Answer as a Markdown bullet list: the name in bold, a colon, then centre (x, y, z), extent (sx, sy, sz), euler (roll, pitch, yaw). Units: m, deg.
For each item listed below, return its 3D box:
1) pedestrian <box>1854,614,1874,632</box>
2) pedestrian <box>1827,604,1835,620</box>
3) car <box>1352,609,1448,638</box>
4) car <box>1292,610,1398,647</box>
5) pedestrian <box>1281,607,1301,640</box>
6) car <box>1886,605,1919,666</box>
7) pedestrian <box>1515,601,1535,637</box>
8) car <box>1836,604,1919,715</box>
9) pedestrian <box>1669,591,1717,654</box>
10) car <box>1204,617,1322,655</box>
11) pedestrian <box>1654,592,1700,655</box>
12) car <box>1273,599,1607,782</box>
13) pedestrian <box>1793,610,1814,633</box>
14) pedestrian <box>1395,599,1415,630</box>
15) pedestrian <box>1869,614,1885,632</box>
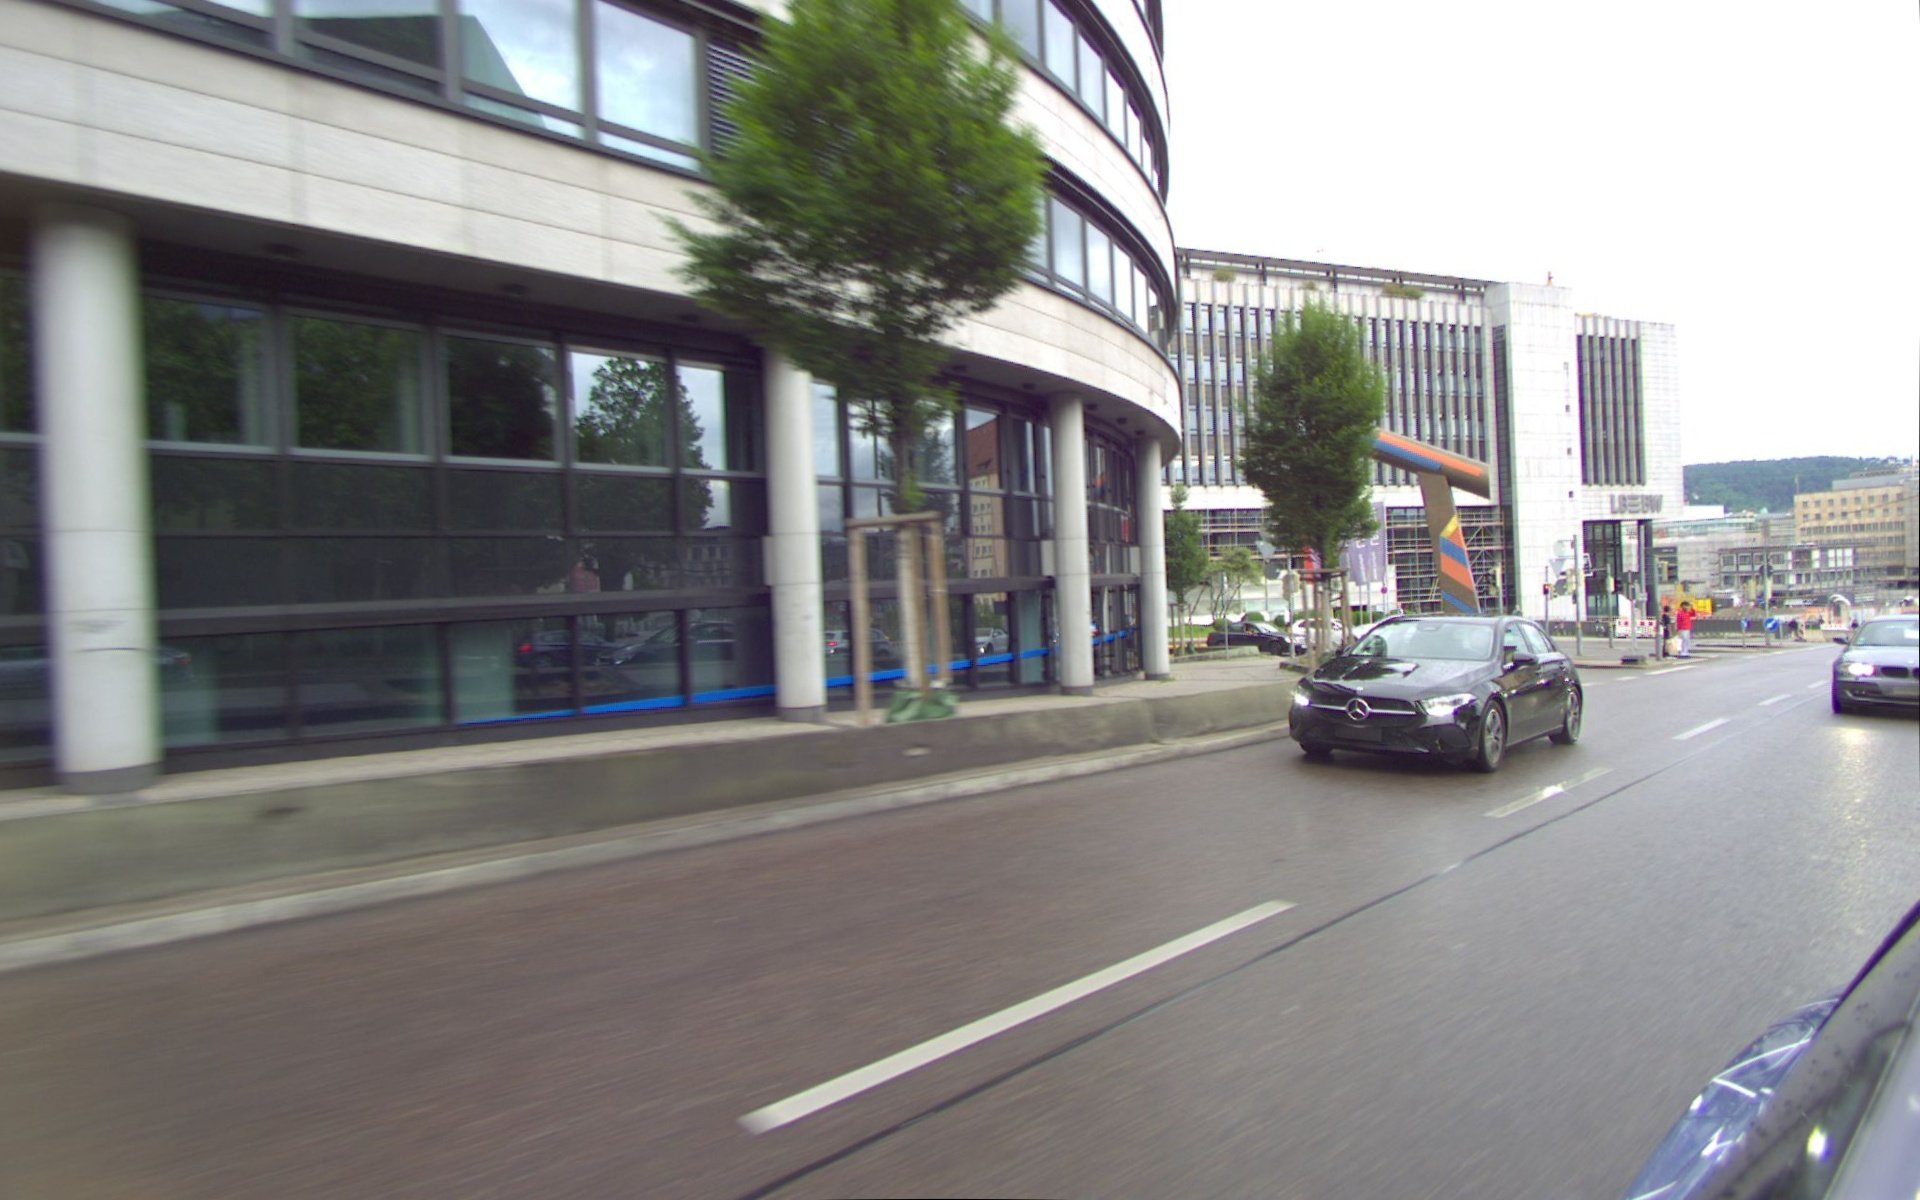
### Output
- **pedestrian**: centre (80.209, 2.039, 89.782), extent (0.932, 1.613, 0.865), euler (-2, 0, -15)
- **pedestrian**: centre (101.103, 1.381, 117.476), extent (0.485, 1.770, 0.569), euler (-2, 0, -24)
- **car**: centre (23.357, 1.244, 53.920), extent (4.557, 1.470, 1.695), euler (-2, -1, 20)
- **car**: centre (17.074, 1.274, 44.993), extent (1.837, 1.460, 3.990), euler (-4, 1, -44)
- **pedestrian**: centre (19.172, 1.361, 58.682), extent (0.765, 1.840, 0.971), euler (-2, 0, -2)
- **car**: centre (26.538, 0.918, 27.077), extent (4.141, 1.568, 1.968), euler (1, -1, -38)
- **pedestrian**: centre (33.390, 1.132, 59.837), extent (0.845, 2.126, 0.897), euler (-3, -3, 24)
- **car**: centre (14.052, 0.790, 14.684), extent (1.740, 1.461, 3.935), euler (-1, -1, 45)
- **pedestrian**: centre (23.379, 0.702, 32.295), extent (0.843, 1.928, 0.845), euler (-2, 0, -17)
- **car**: centre (12.655, 1.471, 42.590), extent (1.830, 1.460, 4.717), euler (-2, 0, -31)
- **pedestrian**: centre (22.425, 0.720, 31.661), extent (0.716, 1.928, 0.845), euler (-2, 0, -17)
- **car**: centre (5.038, 0.735, 10.342), extent (4.158, 1.425, 1.756), euler (-1, 1, -44)
- **pedestrian**: centre (64.595, 1.635, 77.540), extent (1.038, 1.673, 0.733), euler (-1, -1, -15)
- **pedestrian**: centre (25.276, 0.818, 57.482), extent (0.829, 1.732, 0.730), euler (-2, 0, -43)
- **pedestrian**: centre (80.699, 2.029, 89.062), extent (0.788, 1.595, 0.735), euler (-2, -1, -15)
